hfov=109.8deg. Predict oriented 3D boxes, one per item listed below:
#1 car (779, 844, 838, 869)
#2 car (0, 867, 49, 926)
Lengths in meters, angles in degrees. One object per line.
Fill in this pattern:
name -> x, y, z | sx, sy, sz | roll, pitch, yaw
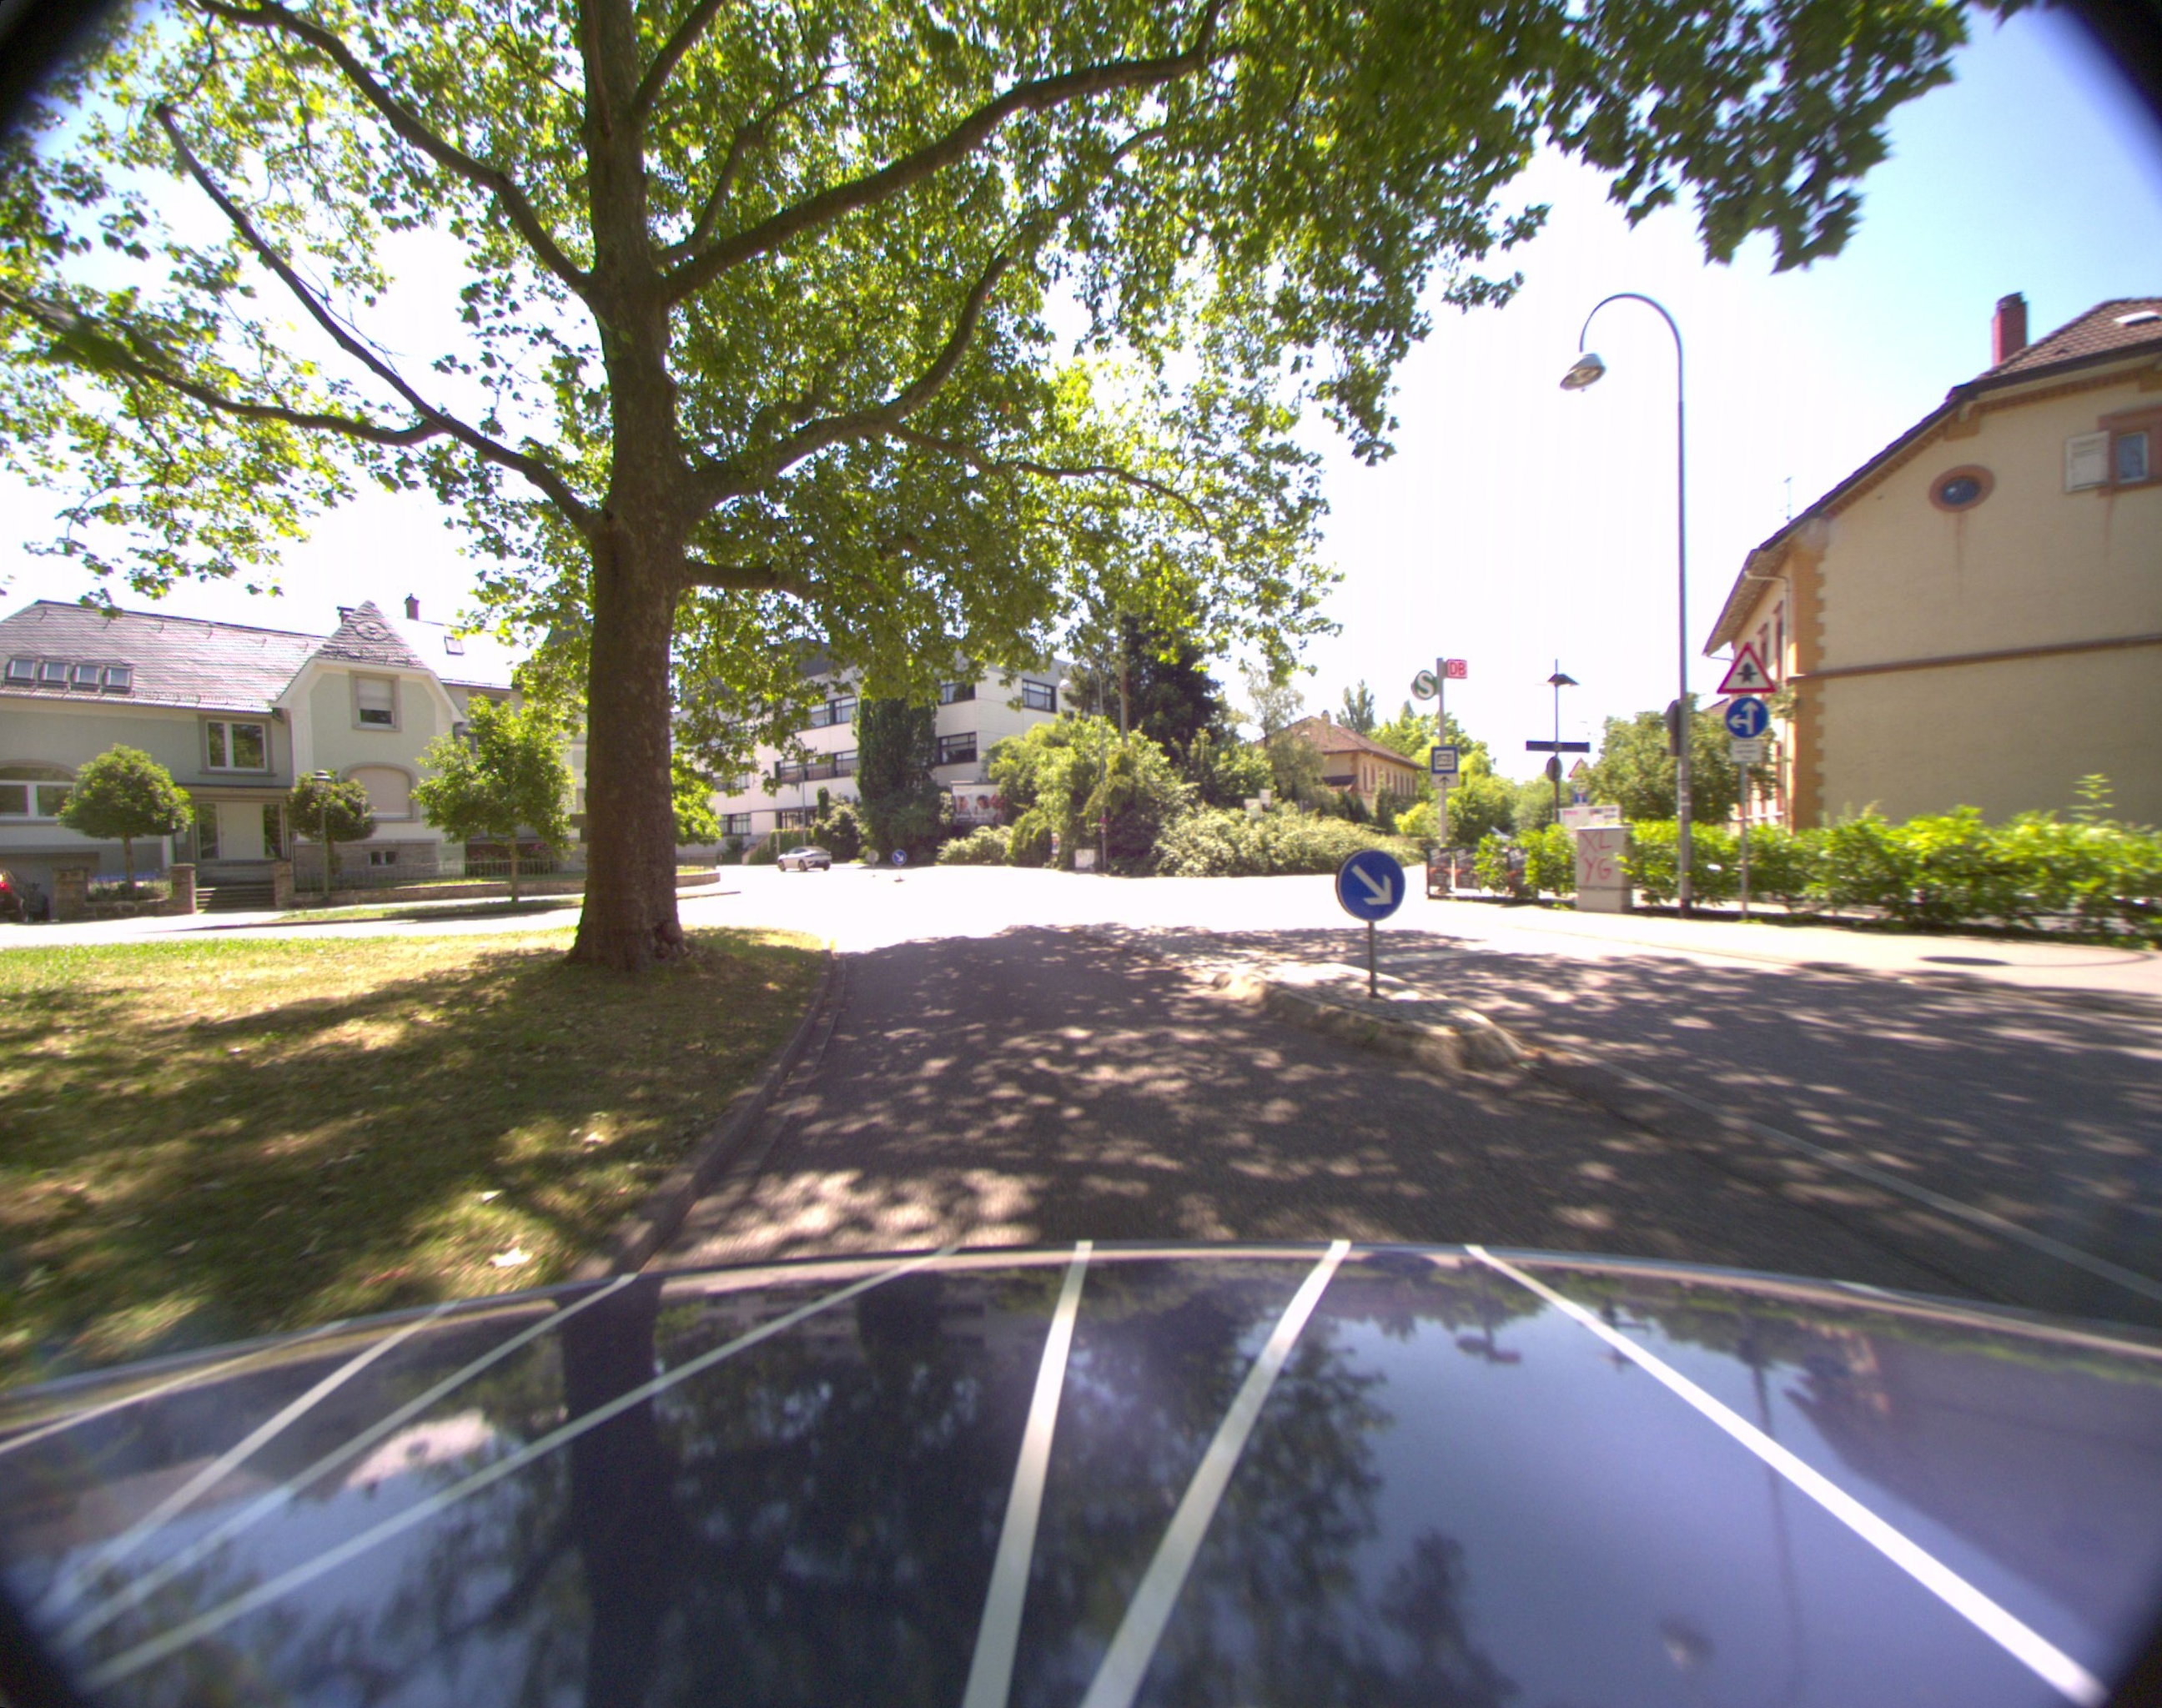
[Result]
car -> -17.894, 0.189, 49.740 | 4.326, 1.522, 1.854 | -1, 2, 44
car -> -31.886, 1.247, 22.021 | 3.988, 1.559, 2.003 | 0, 4, 40
